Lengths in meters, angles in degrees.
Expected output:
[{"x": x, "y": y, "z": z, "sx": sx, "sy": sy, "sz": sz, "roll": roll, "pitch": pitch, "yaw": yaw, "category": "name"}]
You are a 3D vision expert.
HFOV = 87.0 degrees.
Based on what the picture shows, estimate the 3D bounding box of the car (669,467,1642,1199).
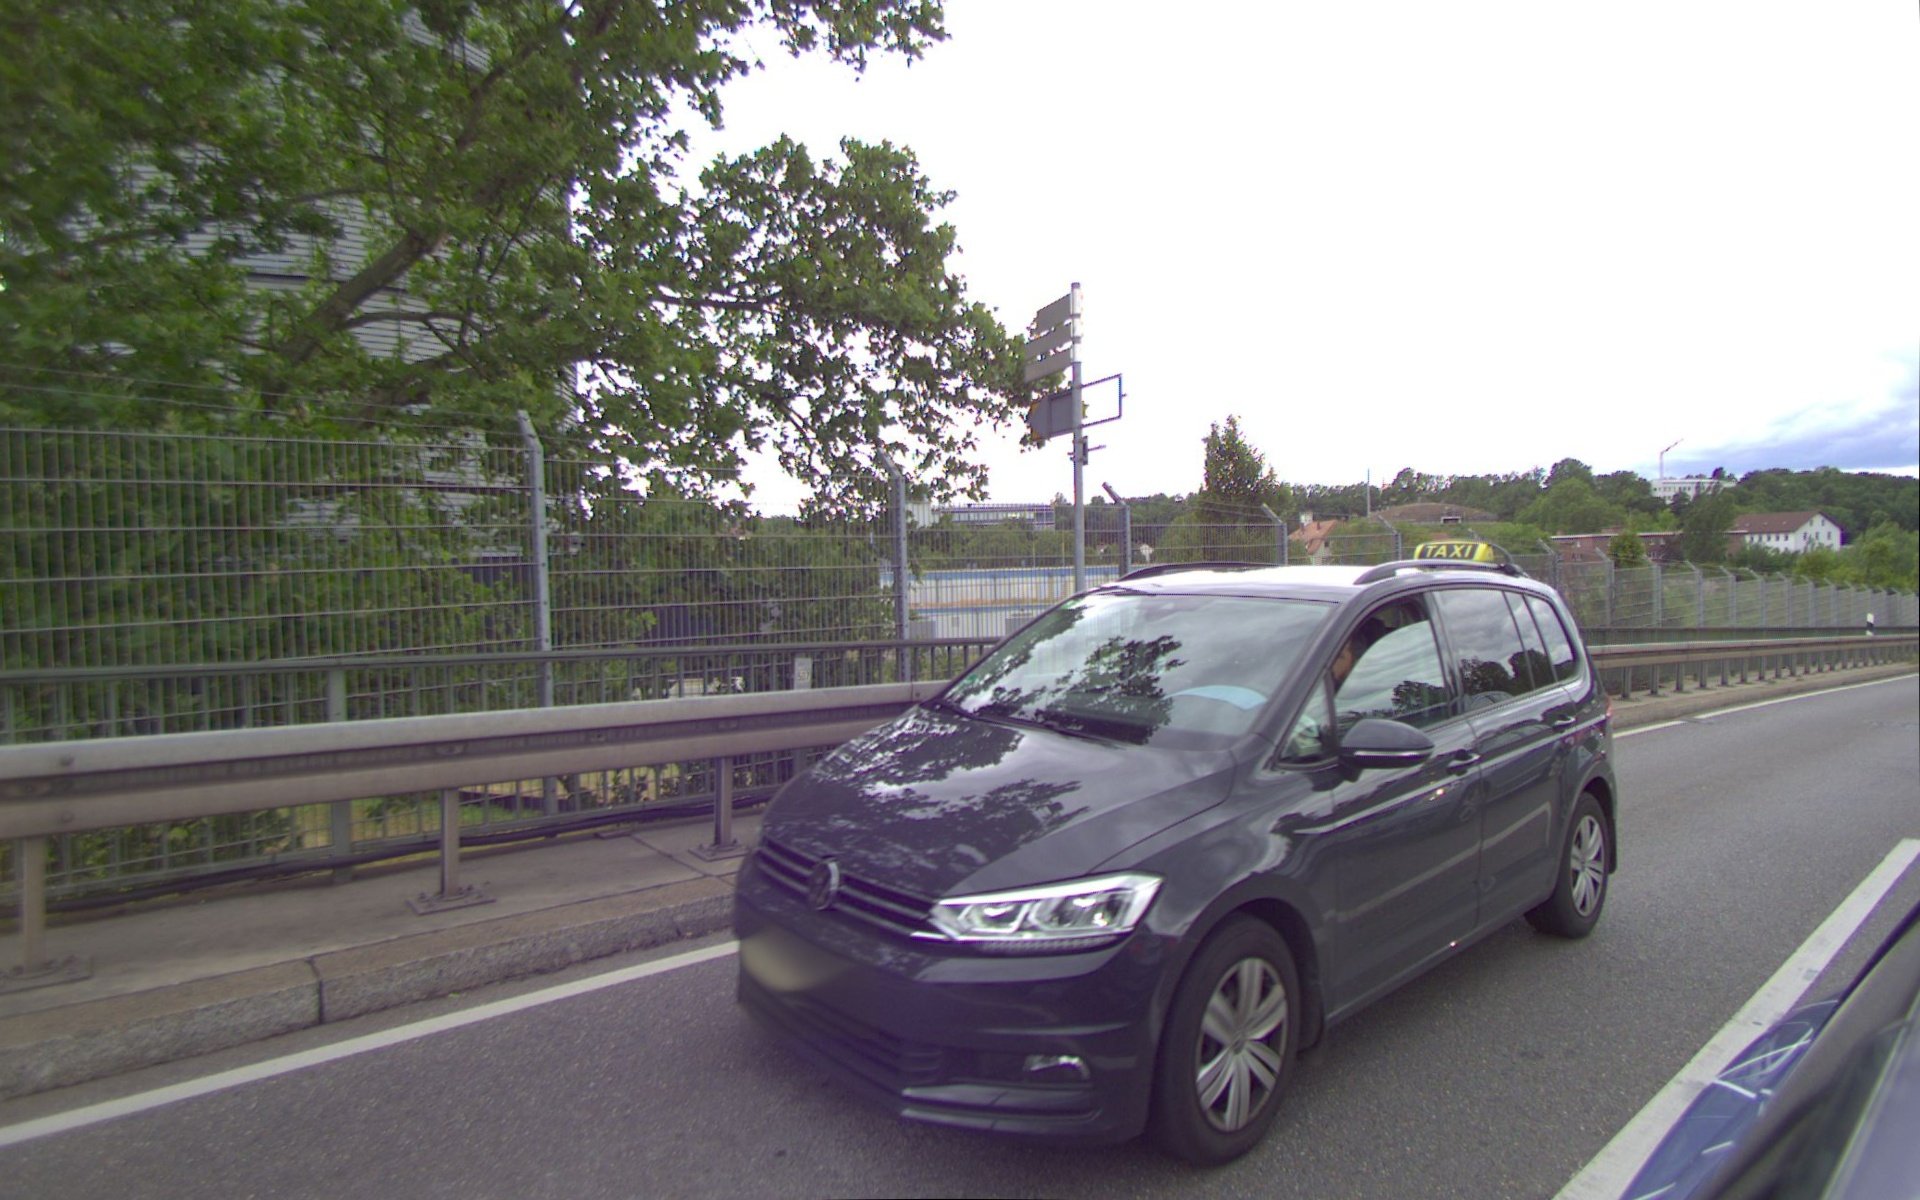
[{"x": 1.121, "y": 0.568, "z": 4.137, "sx": 4.078, "sy": 1.674, "sz": 1.799, "roll": 1, "pitch": 0, "yaw": -41, "category": "car"}]
